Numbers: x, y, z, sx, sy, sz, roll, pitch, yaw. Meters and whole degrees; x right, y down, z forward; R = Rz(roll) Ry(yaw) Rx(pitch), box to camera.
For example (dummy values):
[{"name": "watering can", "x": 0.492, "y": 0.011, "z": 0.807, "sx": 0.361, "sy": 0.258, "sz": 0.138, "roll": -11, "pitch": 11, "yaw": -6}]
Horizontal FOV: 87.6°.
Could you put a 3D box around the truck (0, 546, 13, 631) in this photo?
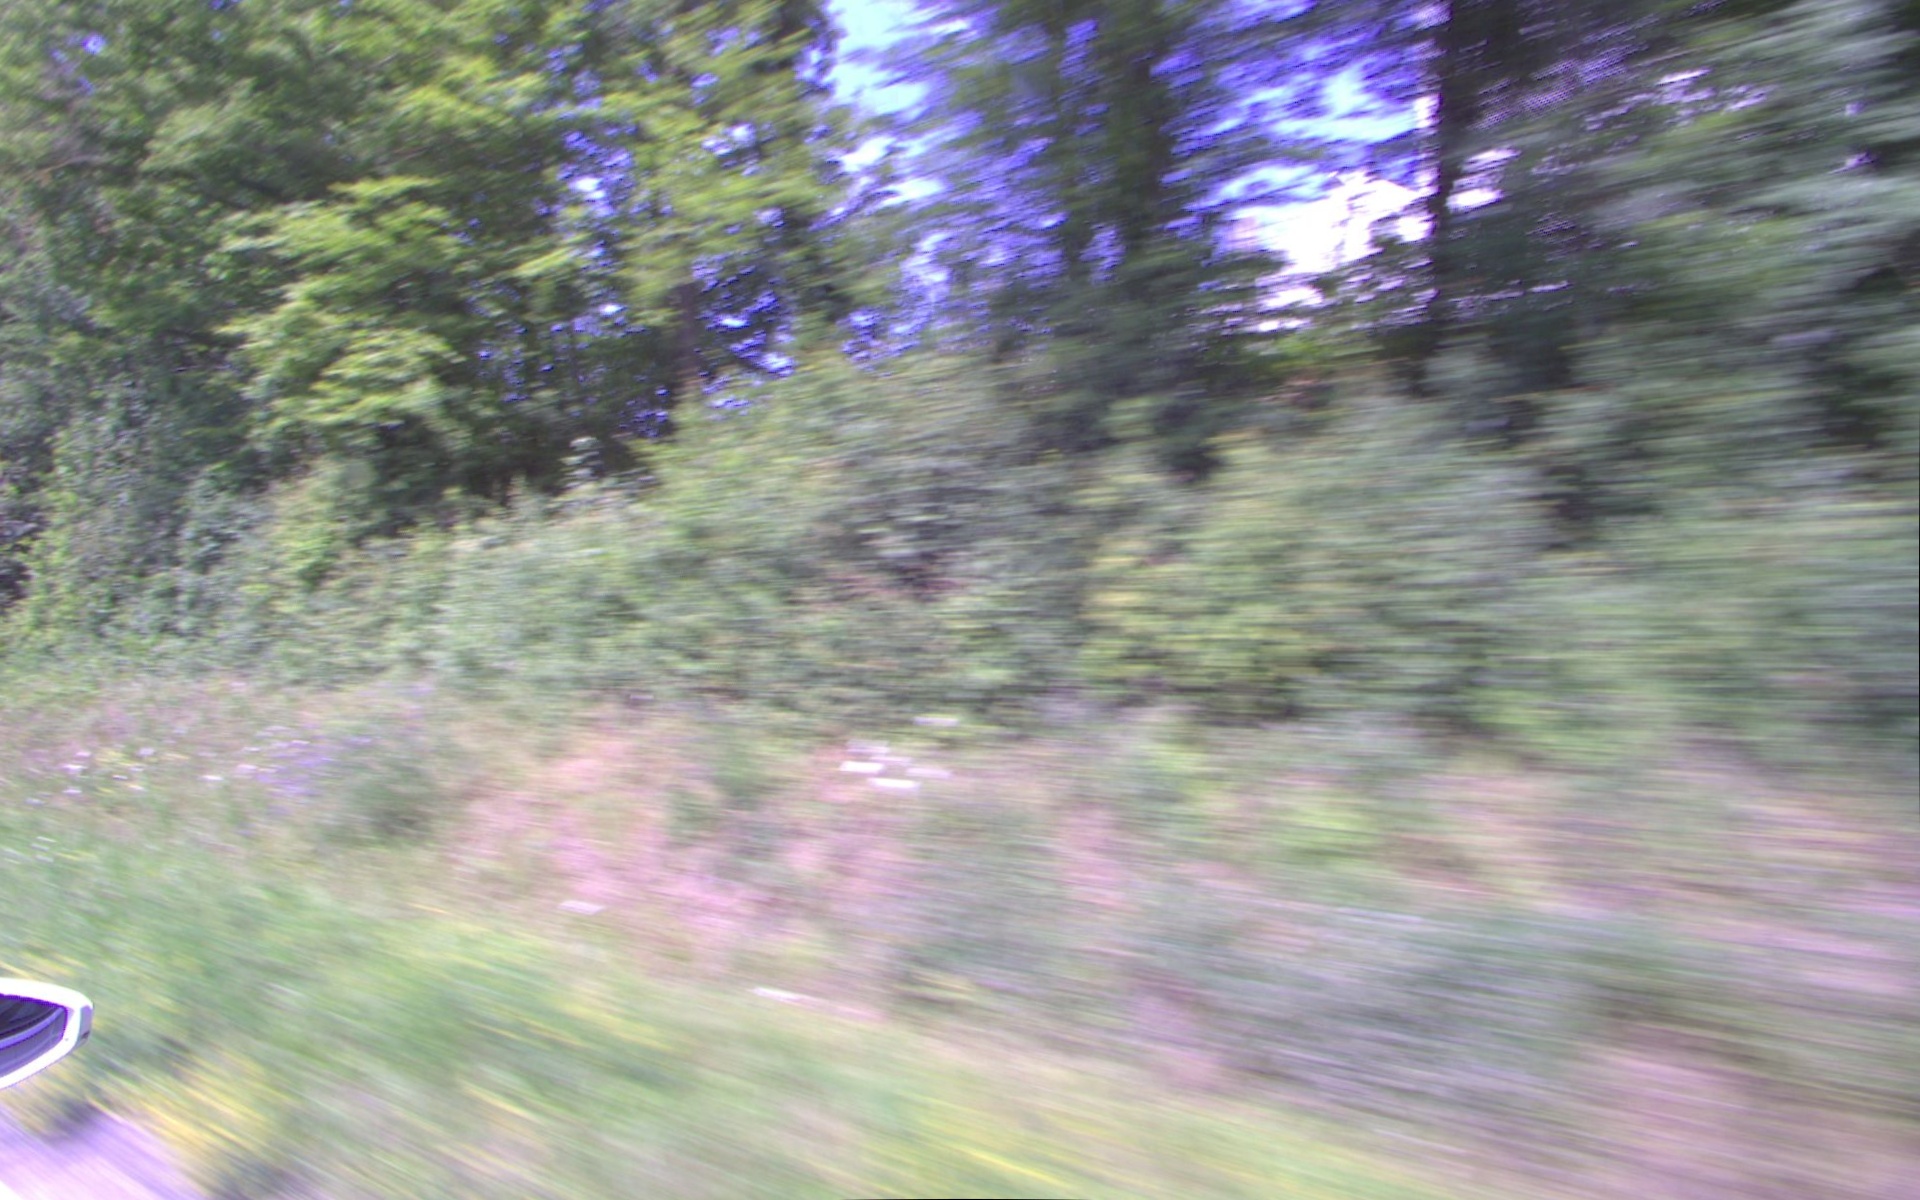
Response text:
[{"name": "truck", "x": -55.149, "y": -0.642, "z": 49.736, "sx": 3.770, "sy": 4.807, "sz": 16.185, "roll": -1, "pitch": 0, "yaw": -12}]
